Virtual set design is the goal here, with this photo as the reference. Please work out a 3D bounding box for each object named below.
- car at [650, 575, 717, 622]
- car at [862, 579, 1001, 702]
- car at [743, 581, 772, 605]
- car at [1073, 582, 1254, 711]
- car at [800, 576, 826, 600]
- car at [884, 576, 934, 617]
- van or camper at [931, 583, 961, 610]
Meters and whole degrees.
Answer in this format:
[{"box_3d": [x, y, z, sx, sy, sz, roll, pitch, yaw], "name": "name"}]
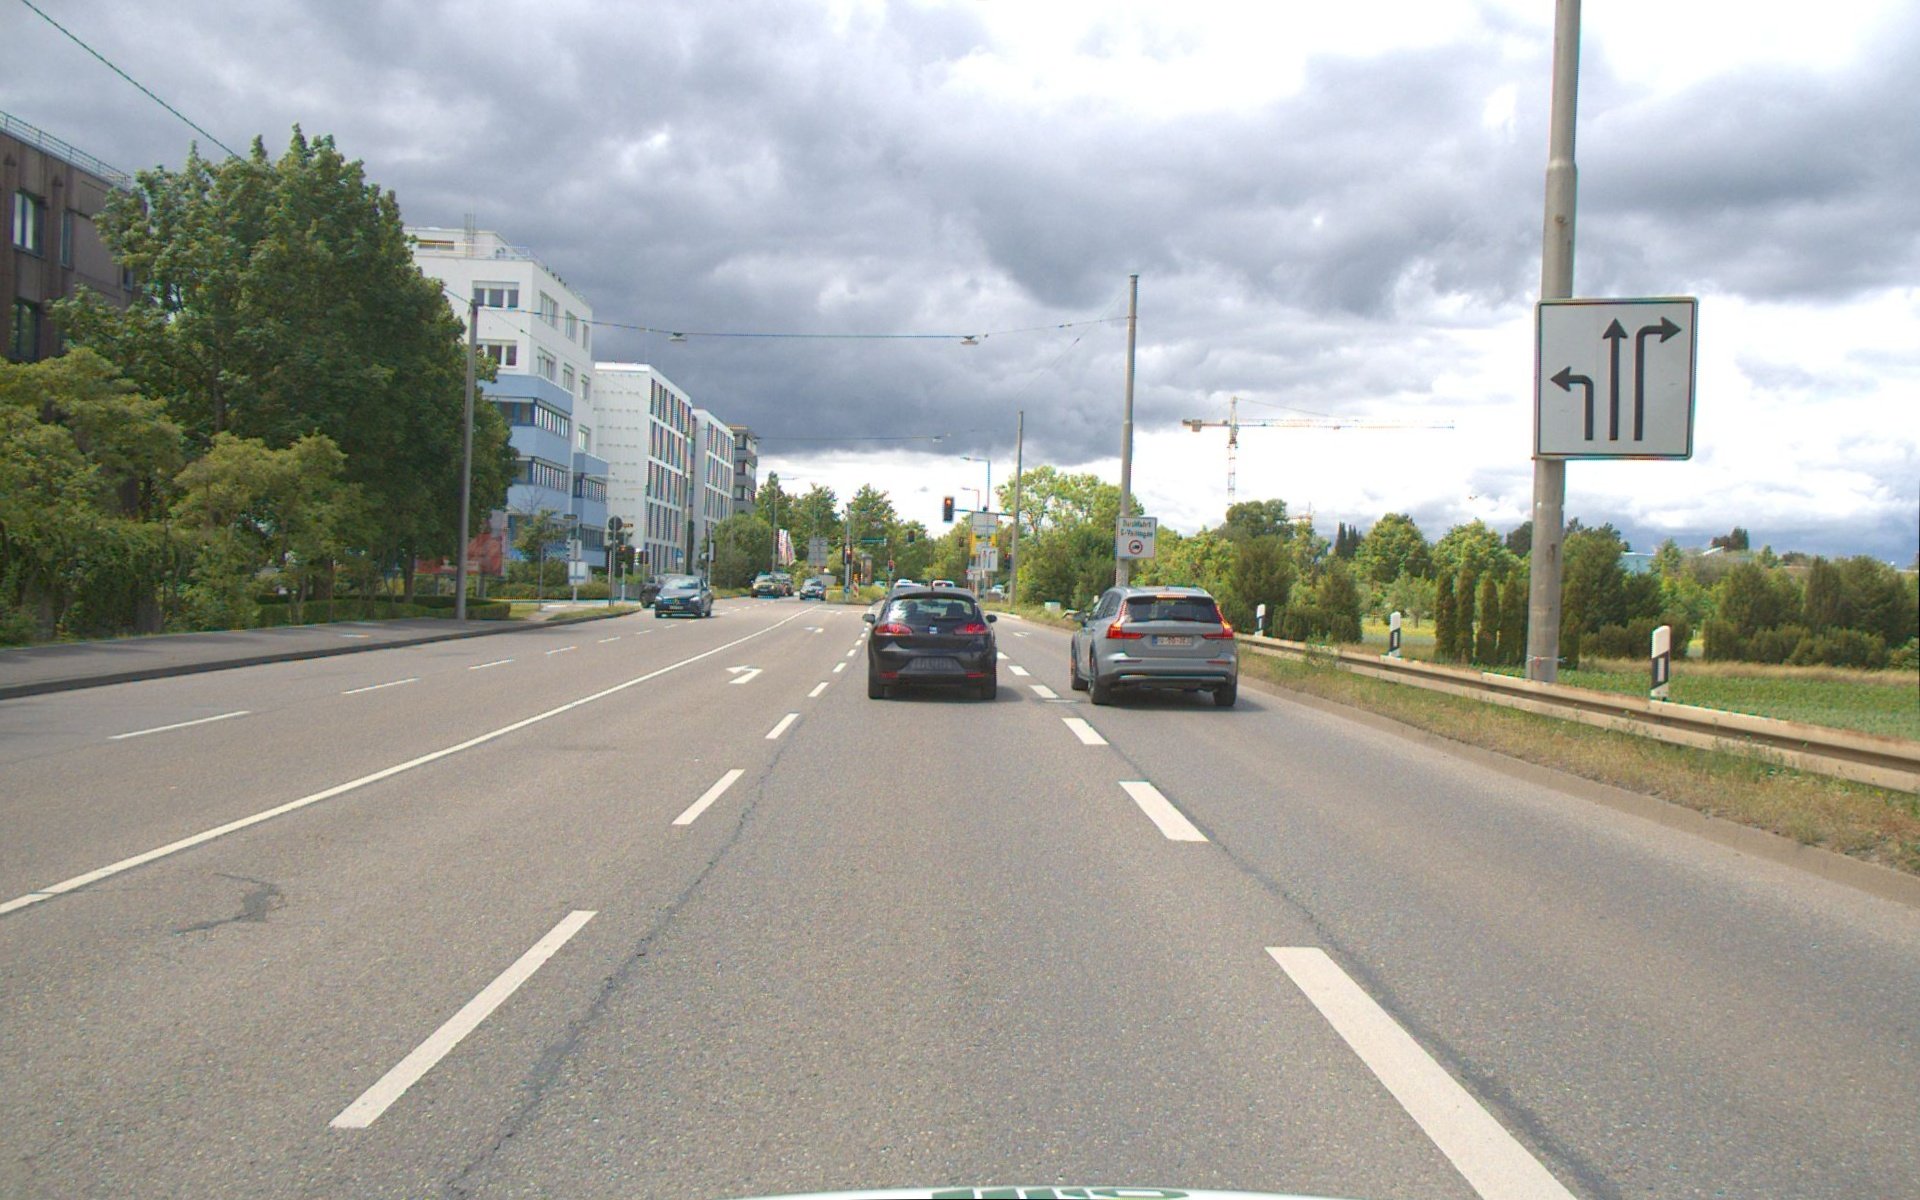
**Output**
[{"box_3d": [-10.523, -0.042, 63.245, 1.760, 1.612, 4.313, 5, 0, 0], "name": "car"}, {"box_3d": [-0.347, 0.511, 22.888, 1.712, 1.509, 4.000, 2, 0, 0], "name": "car"}, {"box_3d": [-14.112, -0.498, 115.582, 1.716, 1.659, 3.998, 0, 0, -3], "name": "car"}, {"box_3d": [2.612, 0.567, 22.205, 1.918, 1.552, 4.340, 0, 0, 0], "name": "car"}, {"box_3d": [-10.140, -0.859, 114.546, 1.635, 1.551, 4.006, 0, 2, -3], "name": "car"}, {"box_3d": [-2.250, -0.173, 71.550, 1.944, 1.617, 4.223, 2, 1, -4], "name": "car"}, {"box_3d": [-1.104, -0.283, 127.461, 1.862, 1.959, 3.995, 3, 0, -5], "name": "van or camper"}]
